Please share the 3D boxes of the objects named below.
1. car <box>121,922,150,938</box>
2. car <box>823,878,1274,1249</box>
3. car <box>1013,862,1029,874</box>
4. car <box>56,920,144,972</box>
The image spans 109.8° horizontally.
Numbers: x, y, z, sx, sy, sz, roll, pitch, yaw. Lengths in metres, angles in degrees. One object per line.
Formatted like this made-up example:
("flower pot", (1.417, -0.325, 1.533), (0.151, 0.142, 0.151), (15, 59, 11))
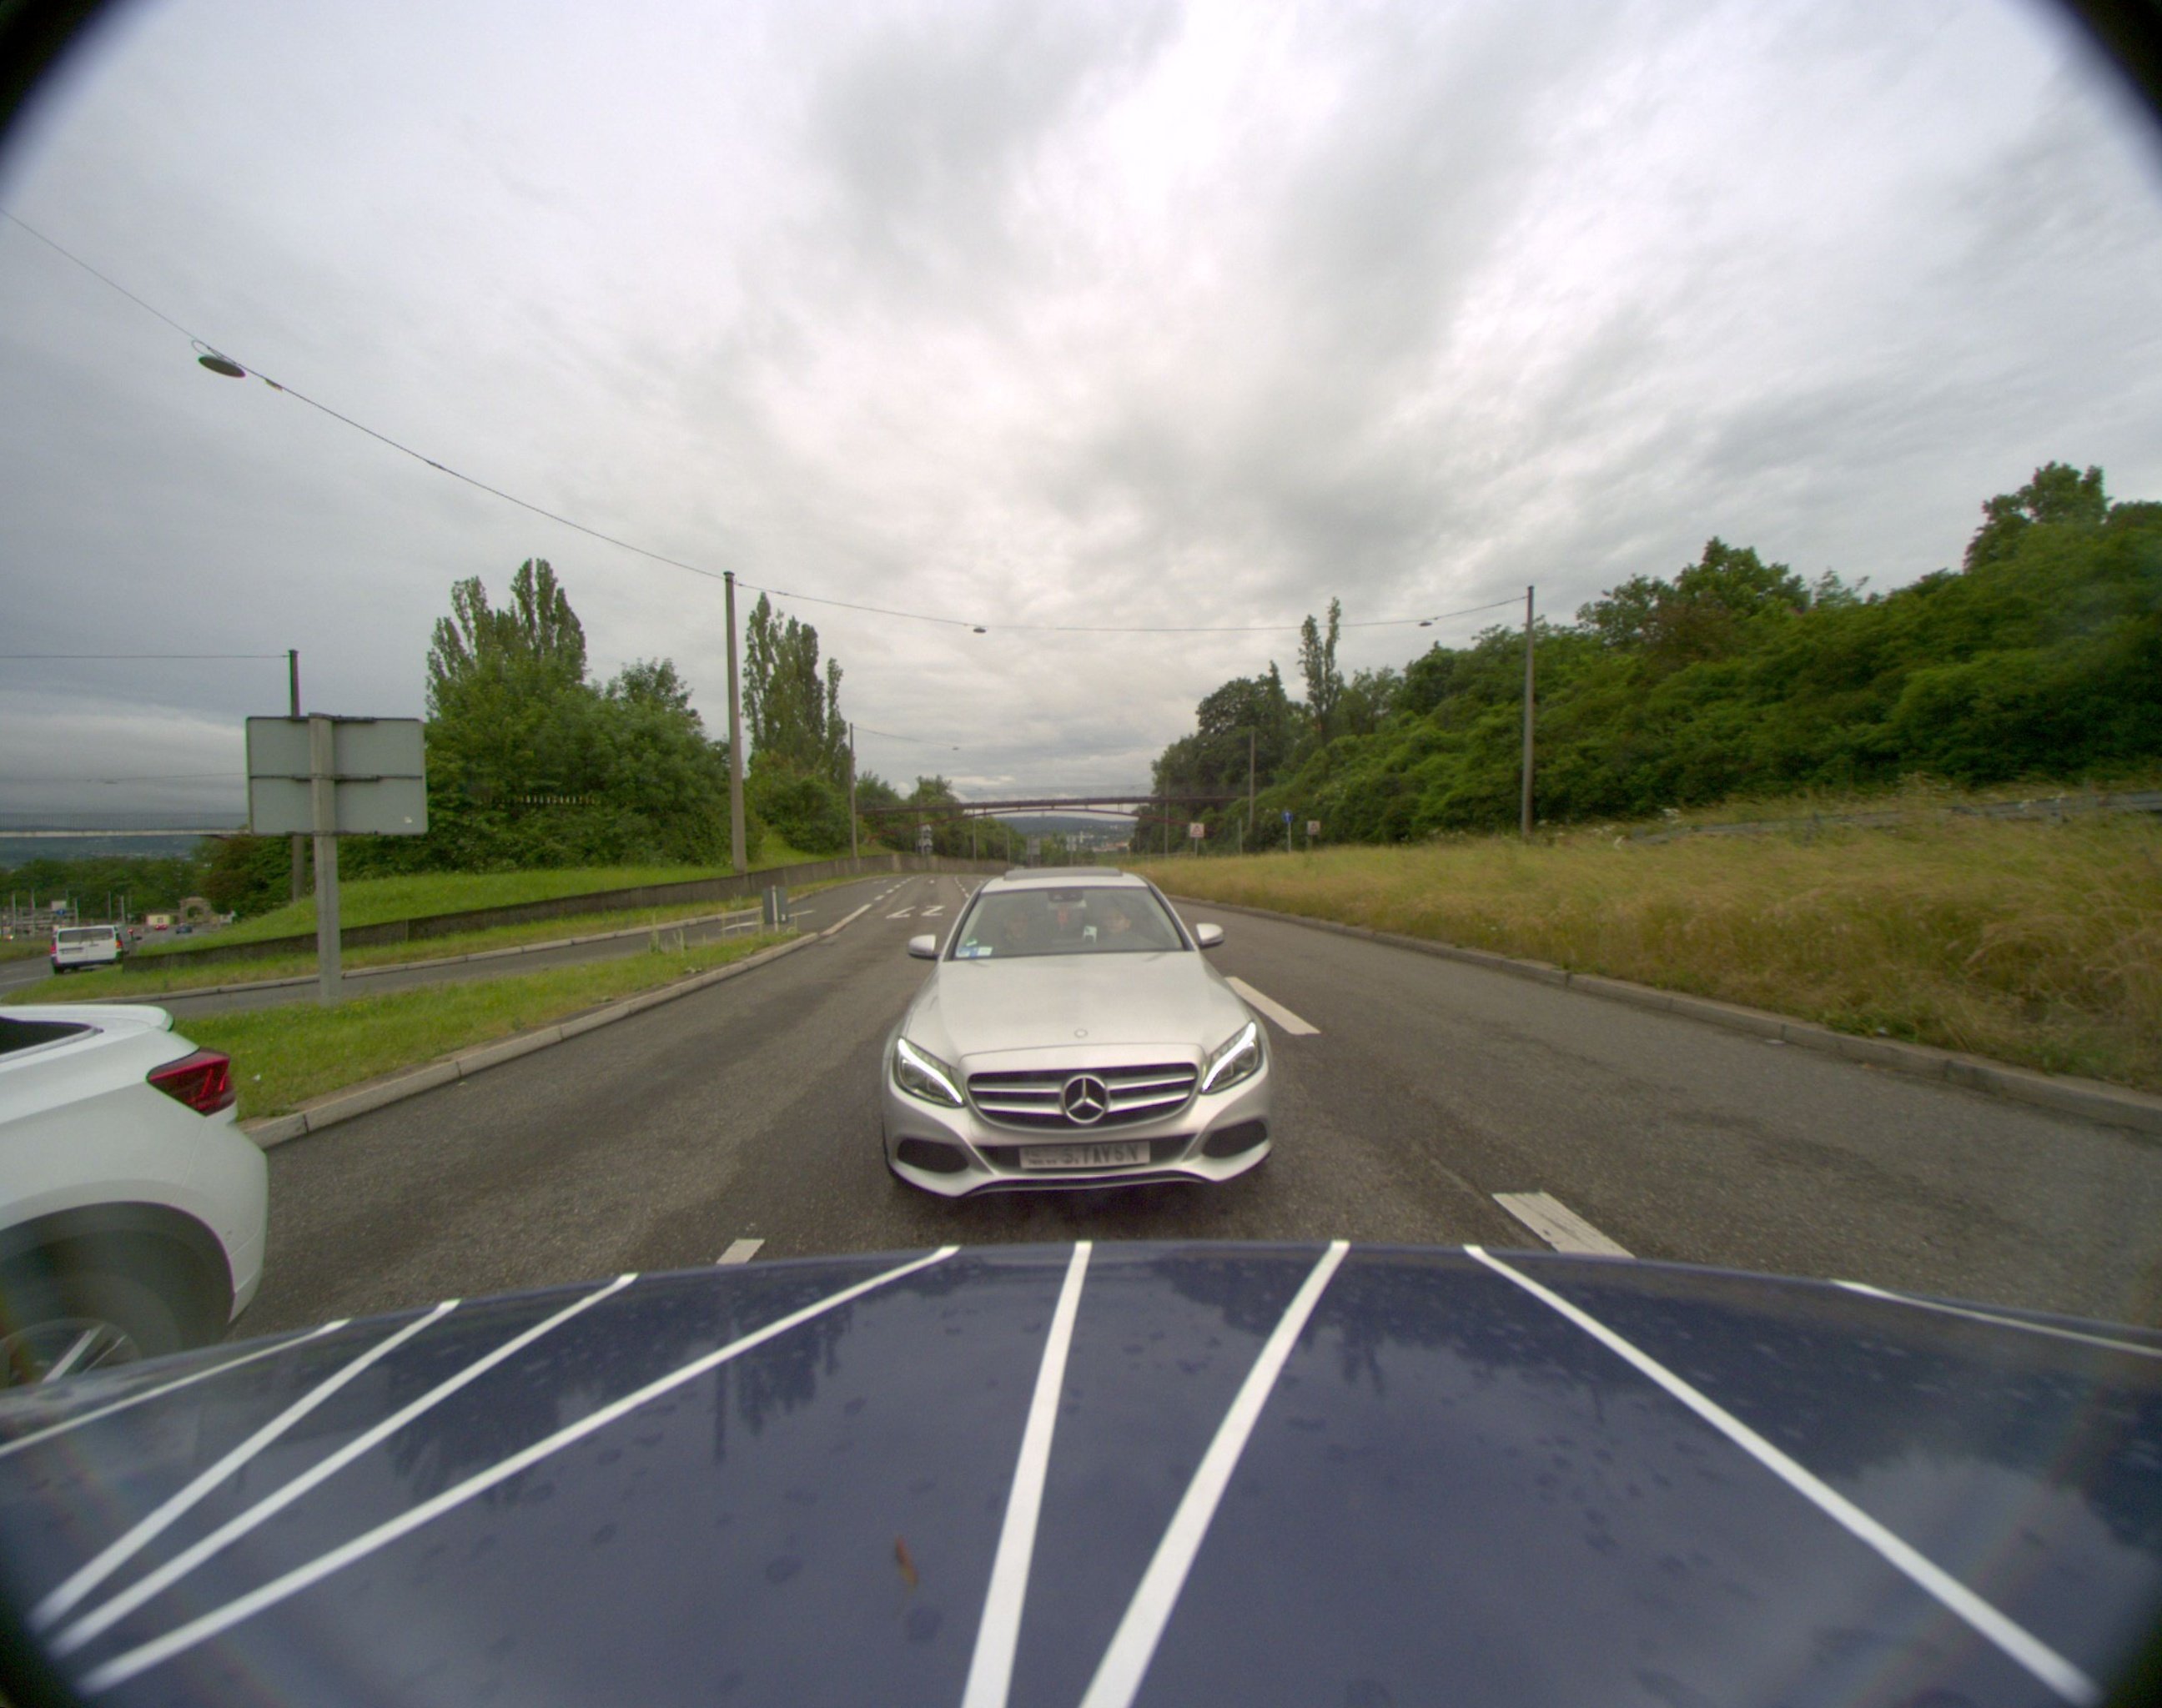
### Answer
("car", (-98.702, 7.937, 79.367), (4.070, 1.411, 1.689), (-2, 0, 41))
("car", (-0.065, 0.976, 5.316), (1.894, 1.361, 4.135), (-1, 1, 2))
("car", (-9.680, 2.249, 122.387), (1.911, 1.668, 4.001), (-5, 0, 2))
("car", (-41.659, 3.842, 32.378), (4.811, 1.837, 2.003), (-4, 0, 40))
